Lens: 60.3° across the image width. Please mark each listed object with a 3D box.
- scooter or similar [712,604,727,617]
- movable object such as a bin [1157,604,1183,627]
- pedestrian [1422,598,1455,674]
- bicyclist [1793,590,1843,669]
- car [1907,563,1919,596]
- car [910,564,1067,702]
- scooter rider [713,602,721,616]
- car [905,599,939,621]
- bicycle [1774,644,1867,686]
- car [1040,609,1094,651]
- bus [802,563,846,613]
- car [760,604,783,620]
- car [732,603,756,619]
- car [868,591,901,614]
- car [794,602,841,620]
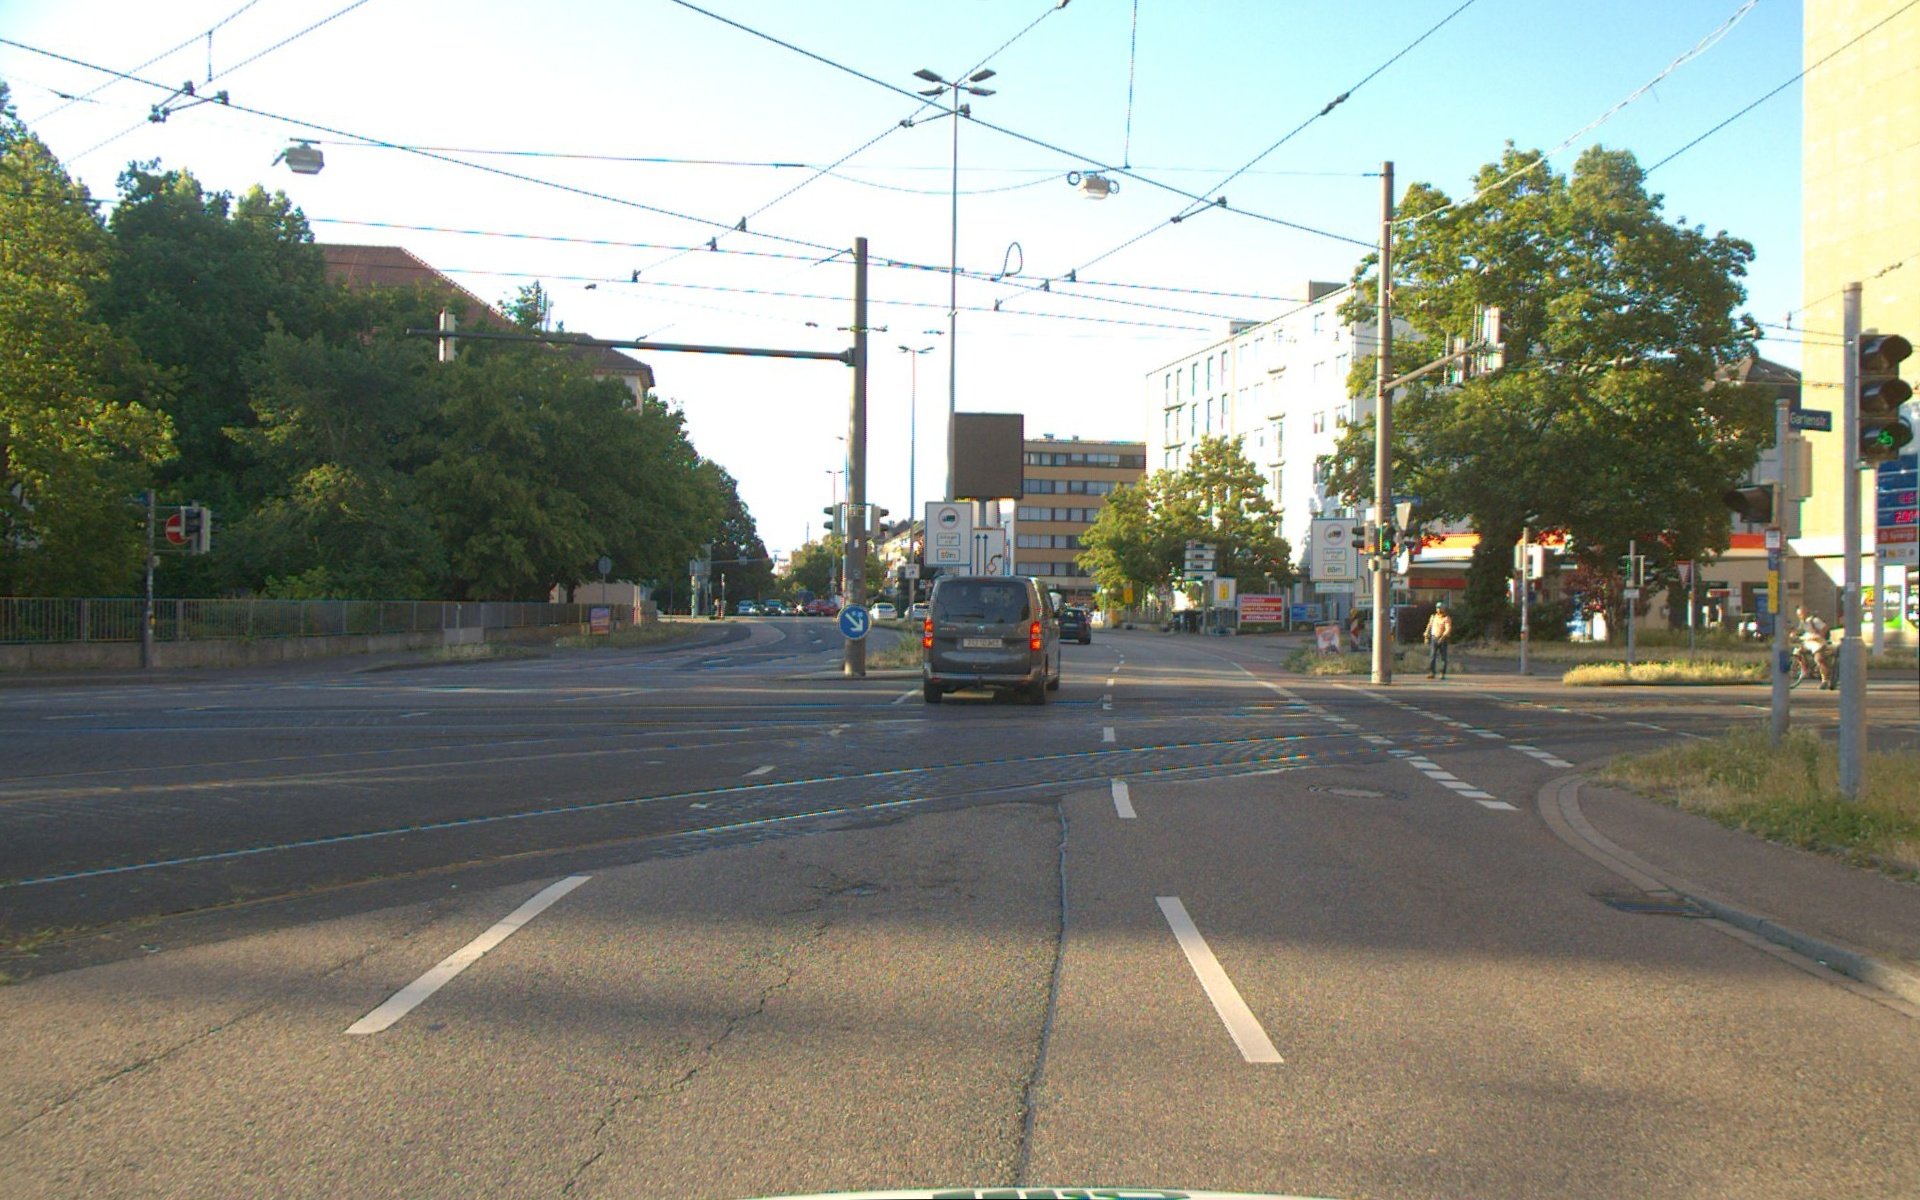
[{"bbox_3d":[-19.090,0.819,131.288,1.082,0.993,0.556,2,-1,-18],"label":"scooter or similar"},{"bbox_3d":[12.887,0.952,101.547,1.432,1.410,1.547,0,0,1],"label":"movable object such as a bin"},{"bbox_3d":[10.664,0.791,36.855,0.540,1.657,0.700,0,0,1],"label":"pedestrian"},{"bbox_3d":[17.633,0.606,33.989,0.682,1.611,0.634,0,0,-17],"label":"bicyclist"},{"bbox_3d":[60.312,-1.249,101.186,1.959,2.049,3.987,0,0,-13],"label":"car"},{"bbox_3d":[0.541,0.491,25.985,1.951,1.934,4.302,1,0,7],"label":"car"},{"bbox_3d":[-19.302,0.700,131.226,0.501,1.054,0.444,2,-1,-19],"label":"scooter rider"},{"bbox_3d":[-2.940,0.740,126.486,1.957,1.685,4.288,0,0,-10],"label":"car"},{"bbox_3d":[17.669,1.329,33.964,1.781,0.843,0.619,0,0,-17],"label":"bicycle"},{"bbox_3d":[4.183,1.143,65.069,1.808,1.571,3.630,1,0,-1],"label":"car"},{"bbox_3d":[-13.778,-1.161,166.759,3.231,4.698,9.973,2,-1,-11],"label":"bus"},{"bbox_3d":[-19.610,1.196,171.830,1.953,1.623,3.999,1,0,-1],"label":"car"},{"bbox_3d":[-22.328,1.120,171.248,1.953,1.623,3.999,1,0,-1],"label":"car"},{"bbox_3d":[-5.770,0.191,125.177,1.957,1.685,4.288,0,0,-10],"label":"car"},{"bbox_3d":[-13.235,0.983,153.888,3.937,1.623,1.984,1,0,-26],"label":"car"}]
